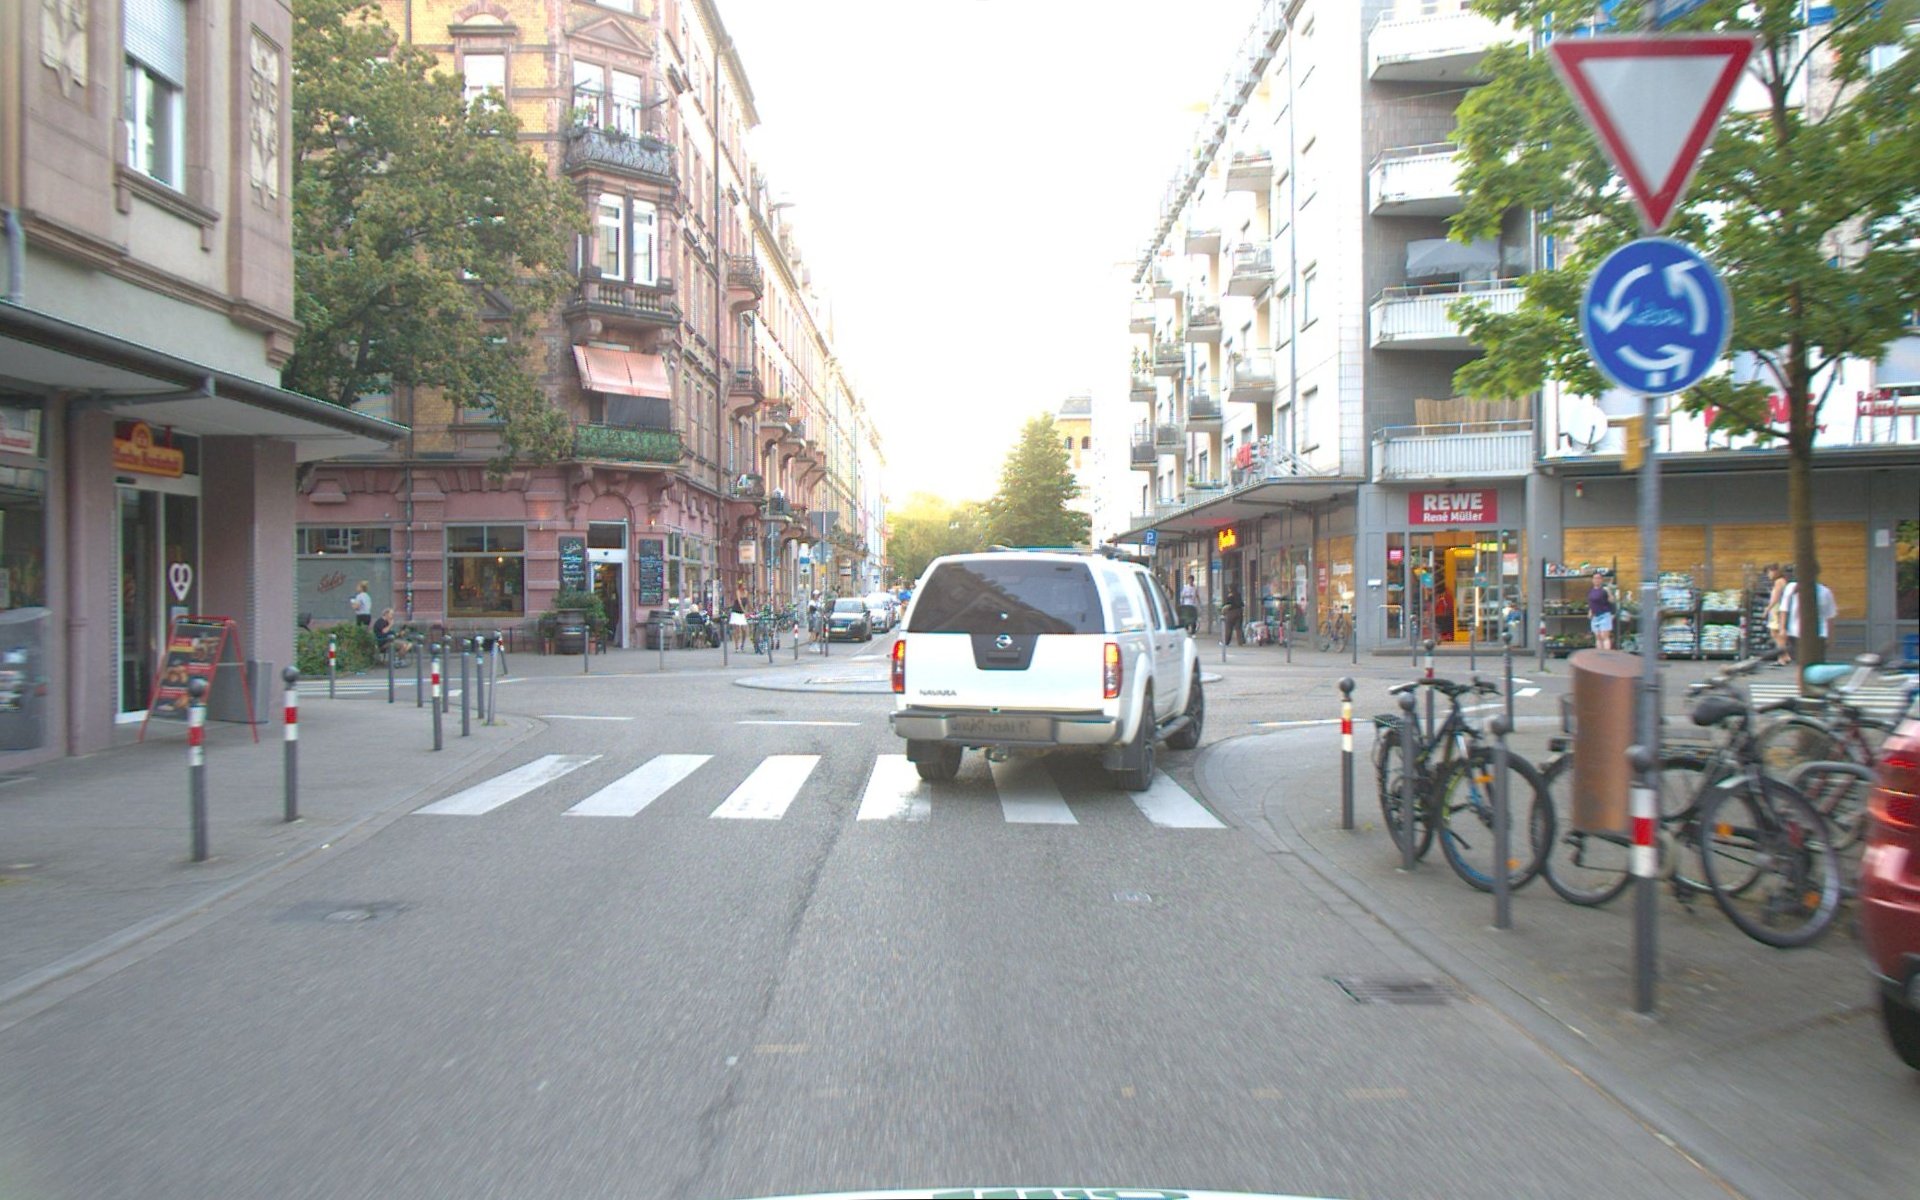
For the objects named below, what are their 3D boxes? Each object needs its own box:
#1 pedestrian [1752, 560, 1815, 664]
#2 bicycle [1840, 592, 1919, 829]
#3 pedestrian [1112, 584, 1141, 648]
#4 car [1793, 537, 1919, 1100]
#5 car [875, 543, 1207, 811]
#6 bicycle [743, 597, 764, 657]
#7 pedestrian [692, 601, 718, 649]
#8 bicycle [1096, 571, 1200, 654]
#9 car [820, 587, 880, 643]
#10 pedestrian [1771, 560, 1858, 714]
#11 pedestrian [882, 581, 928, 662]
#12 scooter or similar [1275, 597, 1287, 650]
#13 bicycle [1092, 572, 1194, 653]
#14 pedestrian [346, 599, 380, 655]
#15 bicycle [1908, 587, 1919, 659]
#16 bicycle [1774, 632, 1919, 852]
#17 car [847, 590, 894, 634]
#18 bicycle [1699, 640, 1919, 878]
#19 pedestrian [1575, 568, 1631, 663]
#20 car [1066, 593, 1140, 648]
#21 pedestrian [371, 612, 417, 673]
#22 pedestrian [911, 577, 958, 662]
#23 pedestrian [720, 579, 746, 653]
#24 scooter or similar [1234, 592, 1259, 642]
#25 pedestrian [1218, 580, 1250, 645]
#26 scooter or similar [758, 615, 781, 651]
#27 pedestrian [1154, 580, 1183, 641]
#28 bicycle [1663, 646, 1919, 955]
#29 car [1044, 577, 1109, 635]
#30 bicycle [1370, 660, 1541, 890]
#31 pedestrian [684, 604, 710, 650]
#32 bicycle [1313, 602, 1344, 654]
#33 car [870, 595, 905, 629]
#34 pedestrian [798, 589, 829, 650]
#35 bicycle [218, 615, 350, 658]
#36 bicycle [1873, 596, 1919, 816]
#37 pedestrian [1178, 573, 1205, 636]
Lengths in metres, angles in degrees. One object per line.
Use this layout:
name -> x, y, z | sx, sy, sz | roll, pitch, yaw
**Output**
pedestrian -> 14.137, 0.203, 28.405 | 0.710, 1.756, 0.662 | 1, -1, -22
bicycle -> 5.764, 0.619, 8.951 | 0.590, 1.311, 1.754 | 1, -1, -27
pedestrian -> 4.480, 0.428, 44.561 | 0.705, 1.692, 0.702 | 1, -1, 0
car -> 4.734, 0.574, 5.537 | 3.998, 1.656, 1.674 | -3, 2, -32
car -> 0.906, 0.467, 13.995 | 1.897, 1.841, 5.005 | 0, 1, 14
bicycle -> -5.249, 0.674, 42.049 | 0.415, 1.468, 1.902 | 1, -1, -5
pedestrian -> -6.963, 0.676, 45.154 | 0.636, 1.308, 0.539 | 1, -1, -4
bicycle -> 4.812, 0.323, 42.423 | 2.593, 2.049, 0.638 | 1, -1, 1
car -> -3.693, 0.506, 56.112 | 1.797, 1.780, 3.999 | 1, -1, -1
pedestrian -> 10.281, 0.433, 19.924 | 0.848, 1.801, 0.948 | 1, -1, 23
pedestrian -> -1.211, 0.472, 36.746 | 0.602, 1.767, 0.904 | 0, -1, 31
scooter or similar -> 7.903, 0.562, 40.711 | 0.214, 1.259, 0.967 | 1, 1, 7
bicycle -> 4.770, 0.329, 43.237 | 2.593, 2.049, 0.638 | 1, -1, 1
pedestrian -> -13.788, 0.627, 38.177 | 0.446, 1.284, 0.575 | 1, -1, 24
bicycle -> 16.915, 0.404, 28.725 | 0.343, 1.224, 1.797 | 0, -1, 44
bicycle -> 5.156, 0.728, 8.469 | 0.590, 1.082, 1.754 | -3, 1, -27
car -> -3.768, 0.517, 70.167 | 1.797, 1.780, 4.161 | 1, -1, -1
bicycle -> 4.602, 0.763, 8.183 | 0.590, 1.082, 1.754 | 1, -1, -27
pedestrian -> 11.626, 0.282, 29.903 | 0.707, 1.681, 0.707 | 2, -1, -42
car -> 4.258, 0.617, 49.893 | 1.797, 1.569, 3.999 | 1, -1, -1
pedestrian -> -12.014, 0.896, 35.124 | 0.739, 1.284, 0.668 | 1, -1, -1
pedestrian -> -0.588, 0.450, 38.089 | 0.894, 1.918, 0.609 | 1, -1, -31
pedestrian -> -5.796, 0.404, 42.163 | 0.497, 1.872, 0.569 | 1, -1, -23
scooter or similar -> 7.728, 0.454, 44.645 | 0.430, 1.313, 1.668 | 1, -1, 2
pedestrian -> 7.172, 0.330, 43.312 | 0.705, 1.692, 0.702 | 1, -1, 0
scooter or similar -> -5.219, 0.893, 45.283 | 0.230, 0.945, 1.256 | 1, -1, -25
pedestrian -> 5.941, 0.299, 47.173 | 0.705, 1.692, 0.702 | 1, -1, 0
bicycle -> 3.748, 0.808, 6.974 | 1.521, 1.181, 0.364 | -1, 0, -15
car -> 4.096, 0.222, 58.675 | 1.903, 1.967, 3.999 | 1, -1, -1
bicycle -> 2.630, 0.891, 8.910 | 0.357, 1.082, 1.551 | 1, -1, -4
pedestrian -> -6.987, 0.714, 43.967 | 0.636, 1.211, 0.539 | 1, -1, -4
bicycle -> 8.142, 0.620, 36.568 | 0.284, 1.132, 0.963 | 1, -1, -12
car -> -4.028, 0.677, 92.215 | 1.797, 1.780, 3.999 | 1, -1, -1
pedestrian -> -4.034, 0.537, 45.696 | 0.782, 1.649, 0.944 | 1, -1, -3
bicycle -> -16.048, 0.868, 39.287 | 2.837, 0.975, 0.625 | 1, -1, -1
bicycle -> 6.307, 0.634, 9.588 | 0.592, 1.311, 1.700 | 0, 0, -36
pedestrian -> 7.209, 0.153, 51.486 | 0.705, 1.940, 0.702 | 1, -1, 0
